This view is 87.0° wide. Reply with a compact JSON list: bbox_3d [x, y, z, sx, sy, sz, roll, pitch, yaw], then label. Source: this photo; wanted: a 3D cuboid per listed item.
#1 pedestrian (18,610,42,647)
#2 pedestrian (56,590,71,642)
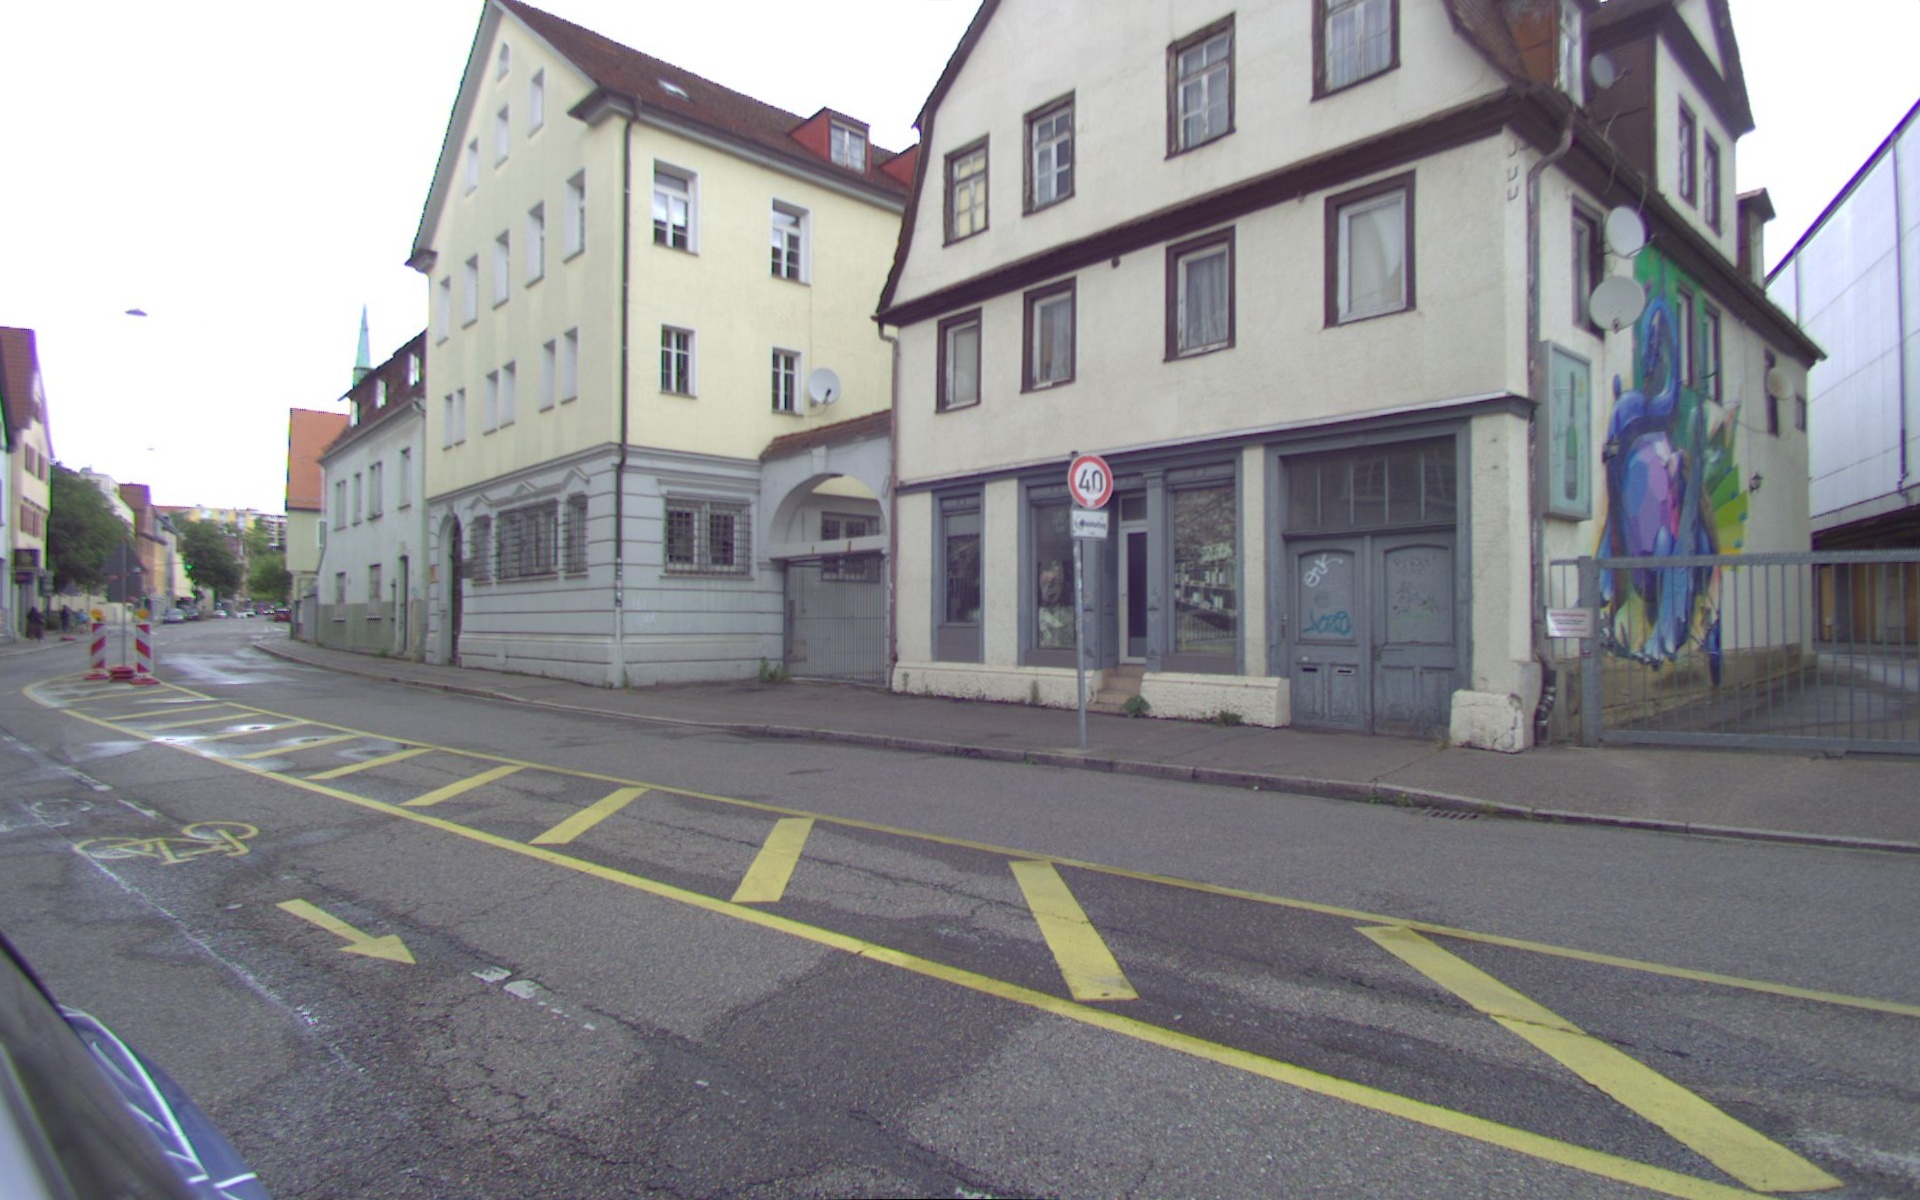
[{"bbox_3d":[-41.081,1.260,44.709,0.714,1.626,0.649,1,-2,-39],"label":"pedestrian"},{"bbox_3d":[-43.711,0.787,49.357,0.487,2.547,0.747,1,-2,-38],"label":"pedestrian"}]
